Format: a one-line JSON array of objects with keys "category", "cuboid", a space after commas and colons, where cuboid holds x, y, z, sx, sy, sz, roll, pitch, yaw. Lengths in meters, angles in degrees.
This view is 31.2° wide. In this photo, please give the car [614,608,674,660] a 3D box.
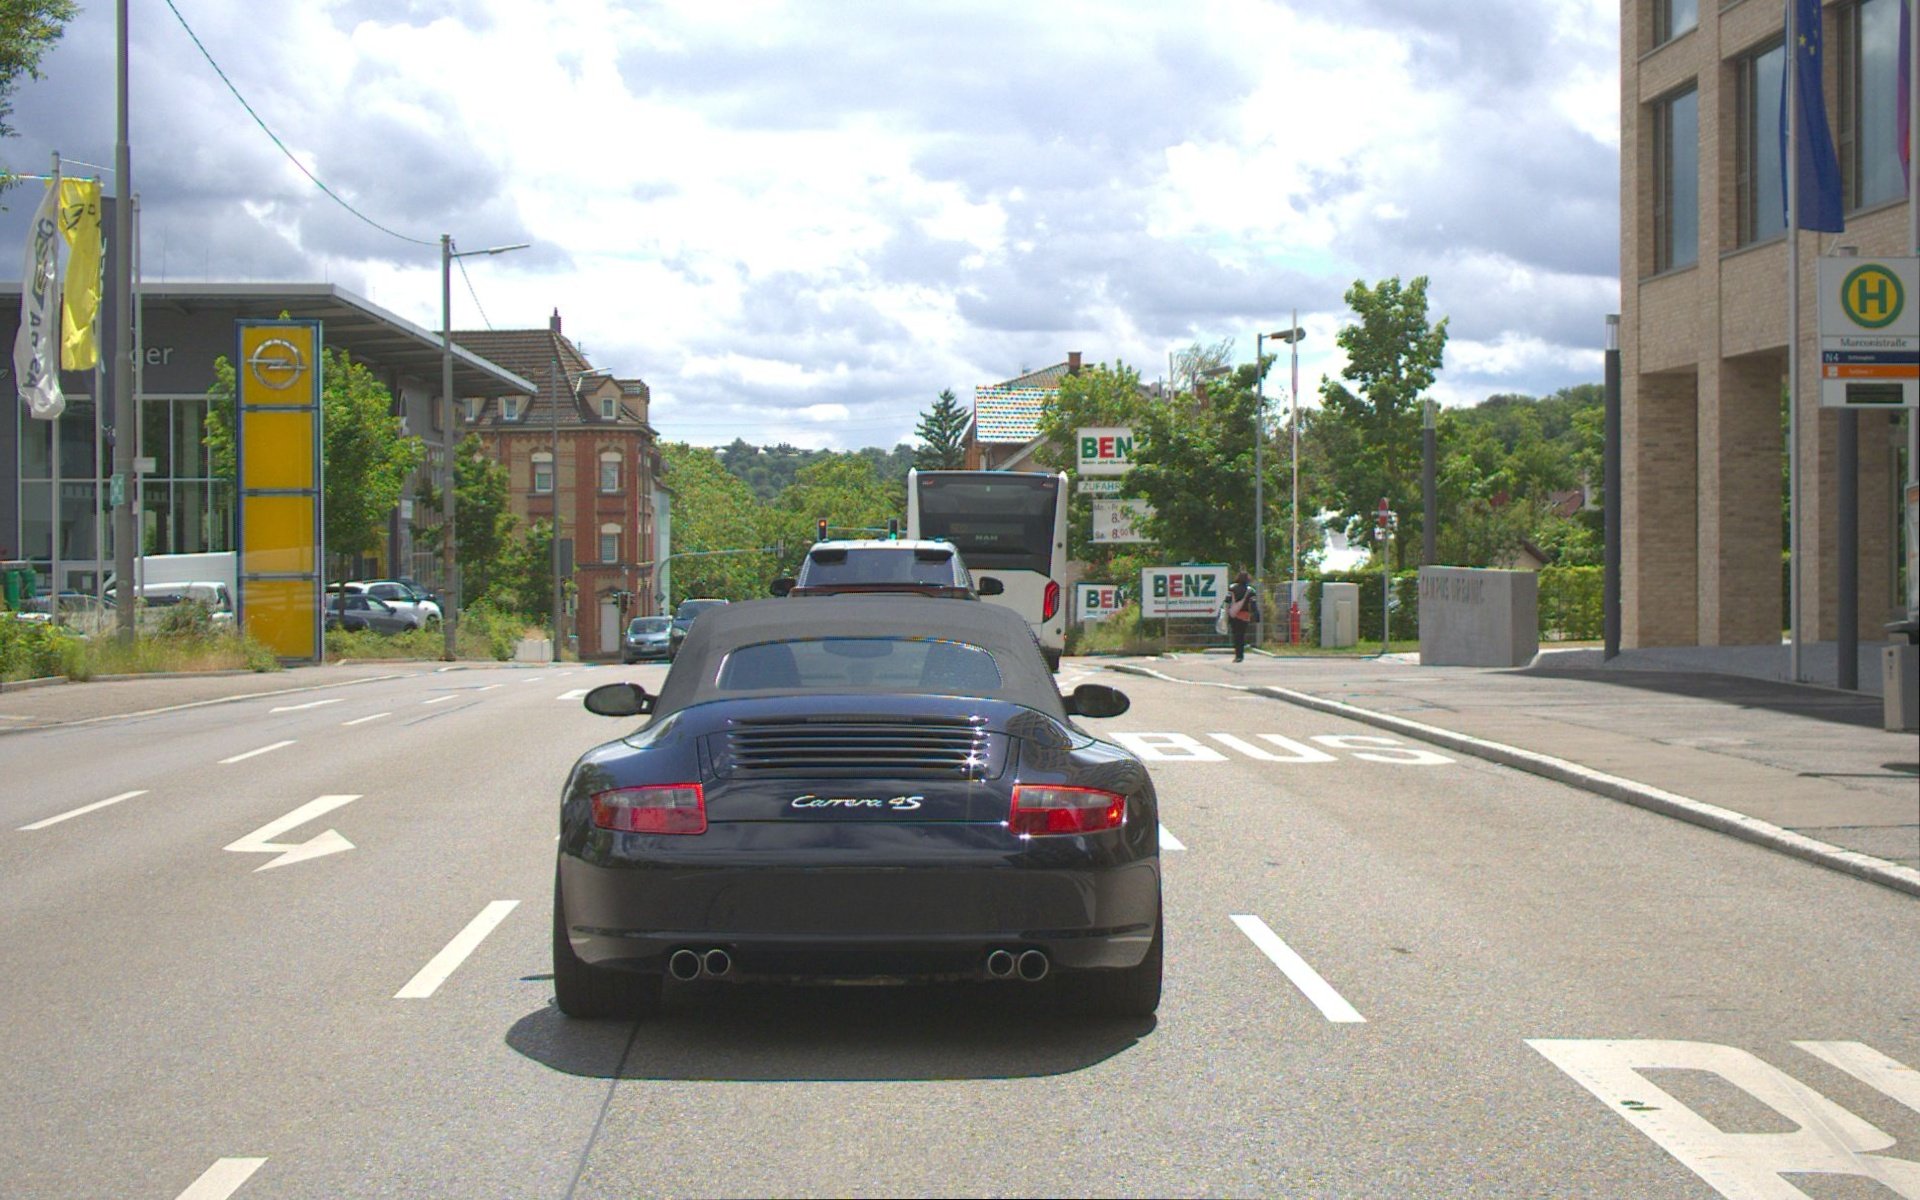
[{"category": "car", "cuboid": [-10.297, 1.093, 112.213, 1.743, 1.590, 4.043, -3, 0, -3]}]

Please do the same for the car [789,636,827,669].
[{"category": "car", "cuboid": [-7.633, 2.634, 172.528, 1.864, 1.660, 4.259, 0, -1, -3]}]

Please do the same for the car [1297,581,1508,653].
[{"category": "car", "cuboid": [9.995, 0.394, 77.911, 4.432, 1.476, 2.000, -1, -1, -2]}]

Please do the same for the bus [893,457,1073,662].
[{"category": "bus", "cuboid": [0.346, -0.774, 59.739, 2.802, 3.187, 12.196, 0, 1, 0]}]

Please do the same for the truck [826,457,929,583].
[{"category": "truck", "cuboid": [-2.369, -2.159, 96.072, 2.666, 3.097, 9.035, -1, -1, -2]}]

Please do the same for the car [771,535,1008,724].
[{"category": "car", "cuboid": [-0.701, 0.206, 30.767, 1.930, 1.577, 4.209, 0, 1, -4]}]

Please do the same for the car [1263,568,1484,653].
[{"category": "car", "cuboid": [9.686, 0.260, 80.734, 4.706, 1.842, 2.089, -2, -1, -9]}]

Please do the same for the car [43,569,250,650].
[{"category": "car", "cuboid": [-17.692, 0.187, 74.888, 3.987, 1.700, 2.000, 0, 1, 4]}]

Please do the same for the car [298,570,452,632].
[{"category": "car", "cuboid": [-15.478, 0.042, 91.146, 1.933, 1.567, 4.548, -1, -1, 22]}]

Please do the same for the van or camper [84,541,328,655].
[{"category": "van or camper", "cuboid": [-16.926, -0.058, 77.368, 5.026, 2.522, 2.318, 0, 1, -2]}]

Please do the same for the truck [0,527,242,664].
[{"category": "truck", "cuboid": [-14.935, -0.045, 56.446, 5.860, 2.140, 2.477, -1, -1, -4]}]

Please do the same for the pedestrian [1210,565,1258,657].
[{"category": "pedestrian", "cuboid": [4.611, 0.177, 57.906, 0.687, 1.531, 0.856, -1, 0, -2]}]

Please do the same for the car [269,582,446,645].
[{"category": "car", "cuboid": [-15.056, 0.312, 86.176, 1.897, 1.445, 4.826, 1, 1, 26]}]

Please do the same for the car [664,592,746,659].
[{"category": "car", "cuboid": [-5.962, 0.606, 80.814, 1.829, 1.504, 4.277, -1, -1, -3]}]

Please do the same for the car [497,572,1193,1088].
[{"category": "car", "cuboid": [-0.340, 0.624, 11.655, 1.930, 1.372, 4.208, 0, 1, -1]}]
